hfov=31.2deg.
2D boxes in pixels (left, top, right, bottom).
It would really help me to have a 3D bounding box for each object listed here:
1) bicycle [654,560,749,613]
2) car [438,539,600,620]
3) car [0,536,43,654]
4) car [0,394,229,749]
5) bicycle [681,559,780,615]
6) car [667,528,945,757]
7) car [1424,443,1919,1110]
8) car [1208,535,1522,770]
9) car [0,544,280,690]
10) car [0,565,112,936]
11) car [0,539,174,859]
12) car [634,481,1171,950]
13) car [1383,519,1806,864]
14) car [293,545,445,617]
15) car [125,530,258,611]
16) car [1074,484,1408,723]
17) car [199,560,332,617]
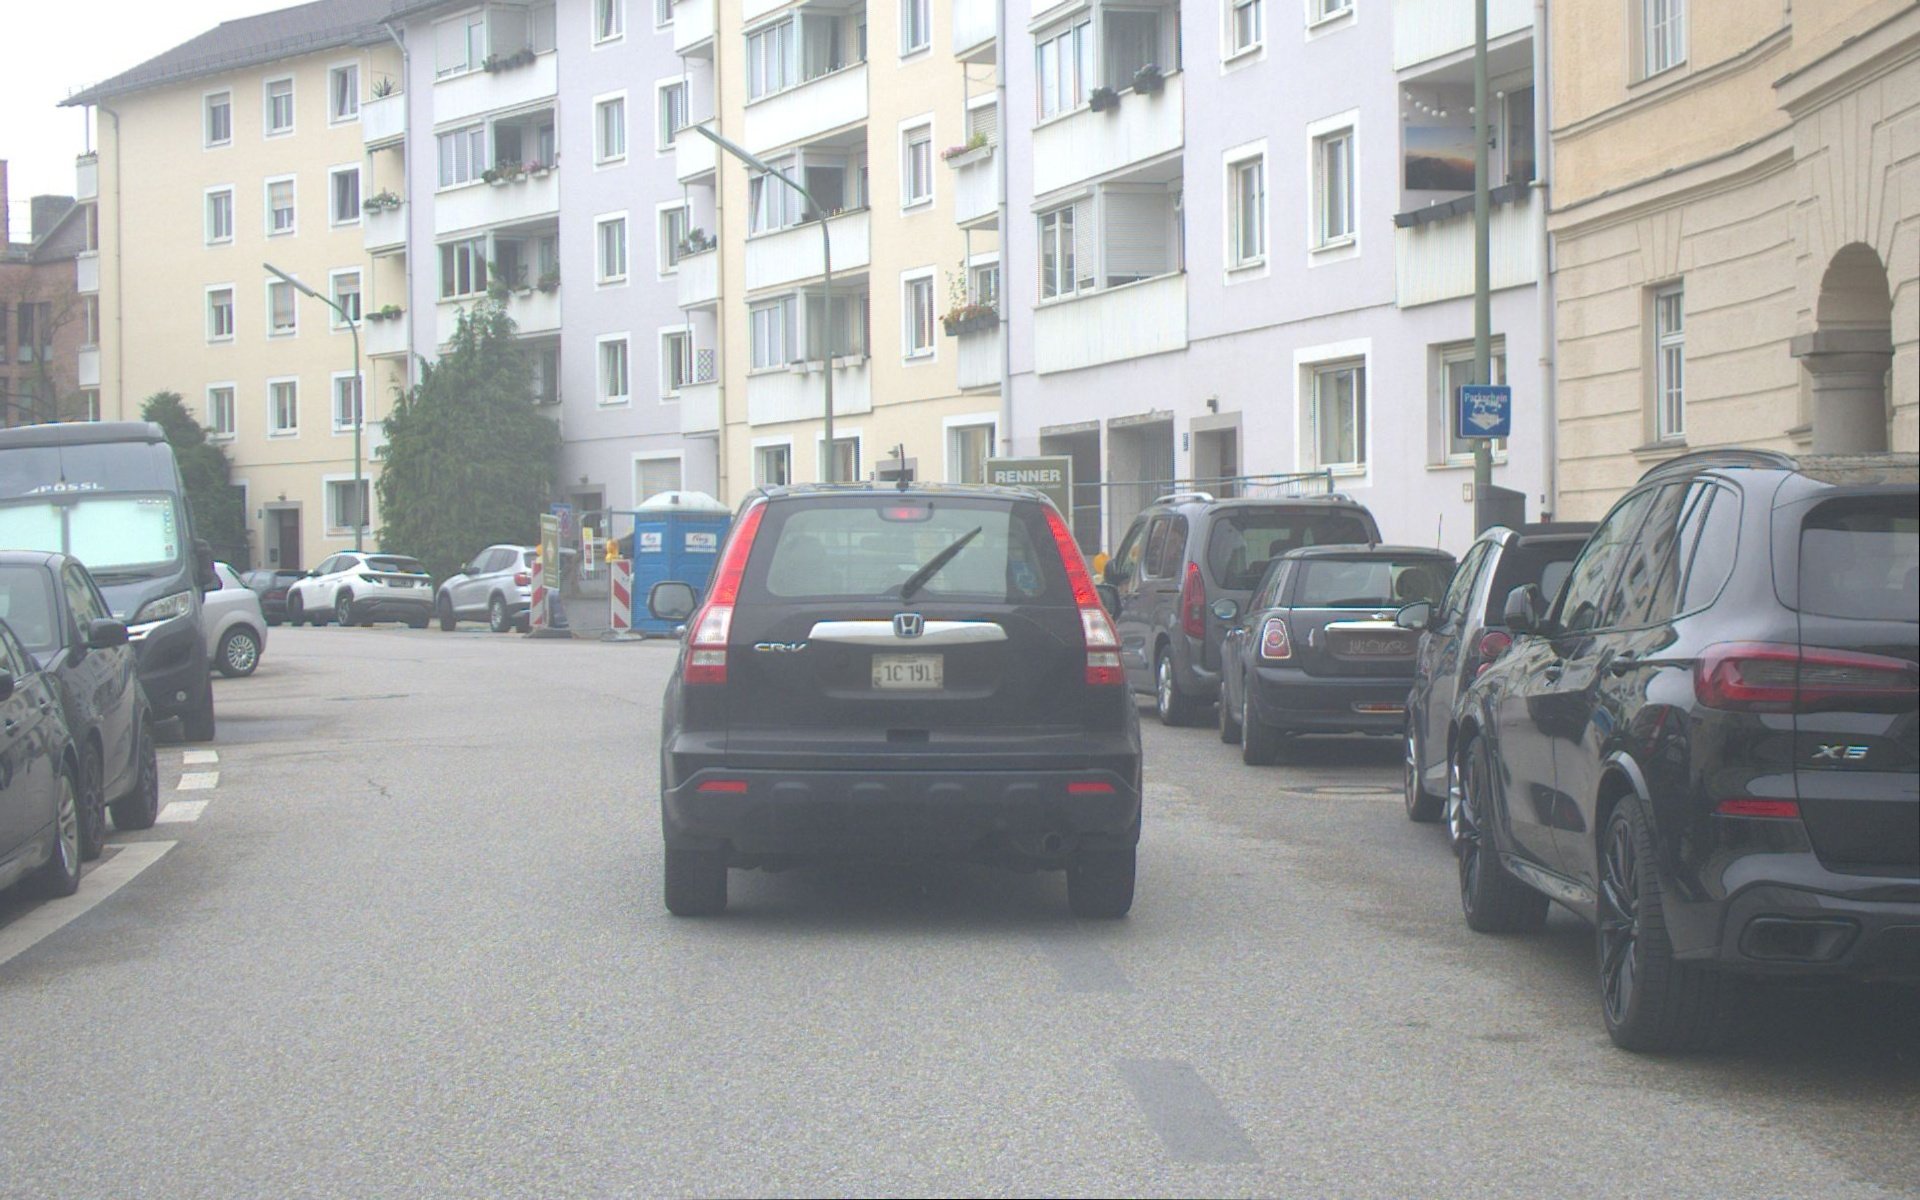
[{"bbox_3d":[-5.369,-0.283,71.440,1.865,1.087,0.646,-1,1,-22],"label":"bicycle"},{"bbox_3d":[-8.363,-0.409,64.911,1.724,1.478,4.001,0,1,-28],"label":"car"},{"bbox_3d":[-15.181,-0.092,51.859,1.679,1.701,4.514,-1,1,-27],"label":"car"},{"bbox_3d":[-7.402,-0.272,28.846,2.163,2.632,6.019,-2,2,-14],"label":"car"},{"bbox_3d":[-4.532,-0.263,67.814,1.865,1.087,0.566,-1,1,-22],"label":"bicycle"},{"bbox_3d":[-1.174,0.242,24.453,1.679,1.476,4.087,0,1,-7],"label":"car"},{"bbox_3d":[2.802,0.427,11.282,1.869,1.711,4.866,1,1,0],"label":"car"},{"bbox_3d":[2.665,0.299,23.371,1.708,1.442,3.830,1,1,1],"label":"car"},{"bbox_3d":[-10.289,0.219,40.890,1.683,1.476,4.078,-4,1,39],"label":"car"},{"bbox_3d":[-4.629,0.615,13.495,1.799,1.401,4.456,-2,1,-5],"label":"car"},{"bbox_3d":[-5.110,0.469,17.700,1.670,1.497,2.978,-2,1,-6],"label":"car"},{"bbox_3d":[-0.324,0.376,14.168,1.890,1.642,3.992,0,1,-4],"label":"car"},{"bbox_3d":[3.028,0.387,16.933,1.535,1.518,3.110,1,1,1],"label":"car"},{"bbox_3d":[-12.686,-0.435,73.671,1.724,1.478,4.000,0,1,-34],"label":"car"},{"bbox_3d":[-18.282,-0.715,81.676,1.724,1.871,4.000,0,1,-34],"label":"car"},{"bbox_3d":[2.221,-0.009,28.319,1.777,1.800,4.277,1,1,-9],"label":"car"},{"bbox_3d":[-15.750,-0.283,77.875,1.697,1.232,3.602,0,1,-34],"label":"car"}]
